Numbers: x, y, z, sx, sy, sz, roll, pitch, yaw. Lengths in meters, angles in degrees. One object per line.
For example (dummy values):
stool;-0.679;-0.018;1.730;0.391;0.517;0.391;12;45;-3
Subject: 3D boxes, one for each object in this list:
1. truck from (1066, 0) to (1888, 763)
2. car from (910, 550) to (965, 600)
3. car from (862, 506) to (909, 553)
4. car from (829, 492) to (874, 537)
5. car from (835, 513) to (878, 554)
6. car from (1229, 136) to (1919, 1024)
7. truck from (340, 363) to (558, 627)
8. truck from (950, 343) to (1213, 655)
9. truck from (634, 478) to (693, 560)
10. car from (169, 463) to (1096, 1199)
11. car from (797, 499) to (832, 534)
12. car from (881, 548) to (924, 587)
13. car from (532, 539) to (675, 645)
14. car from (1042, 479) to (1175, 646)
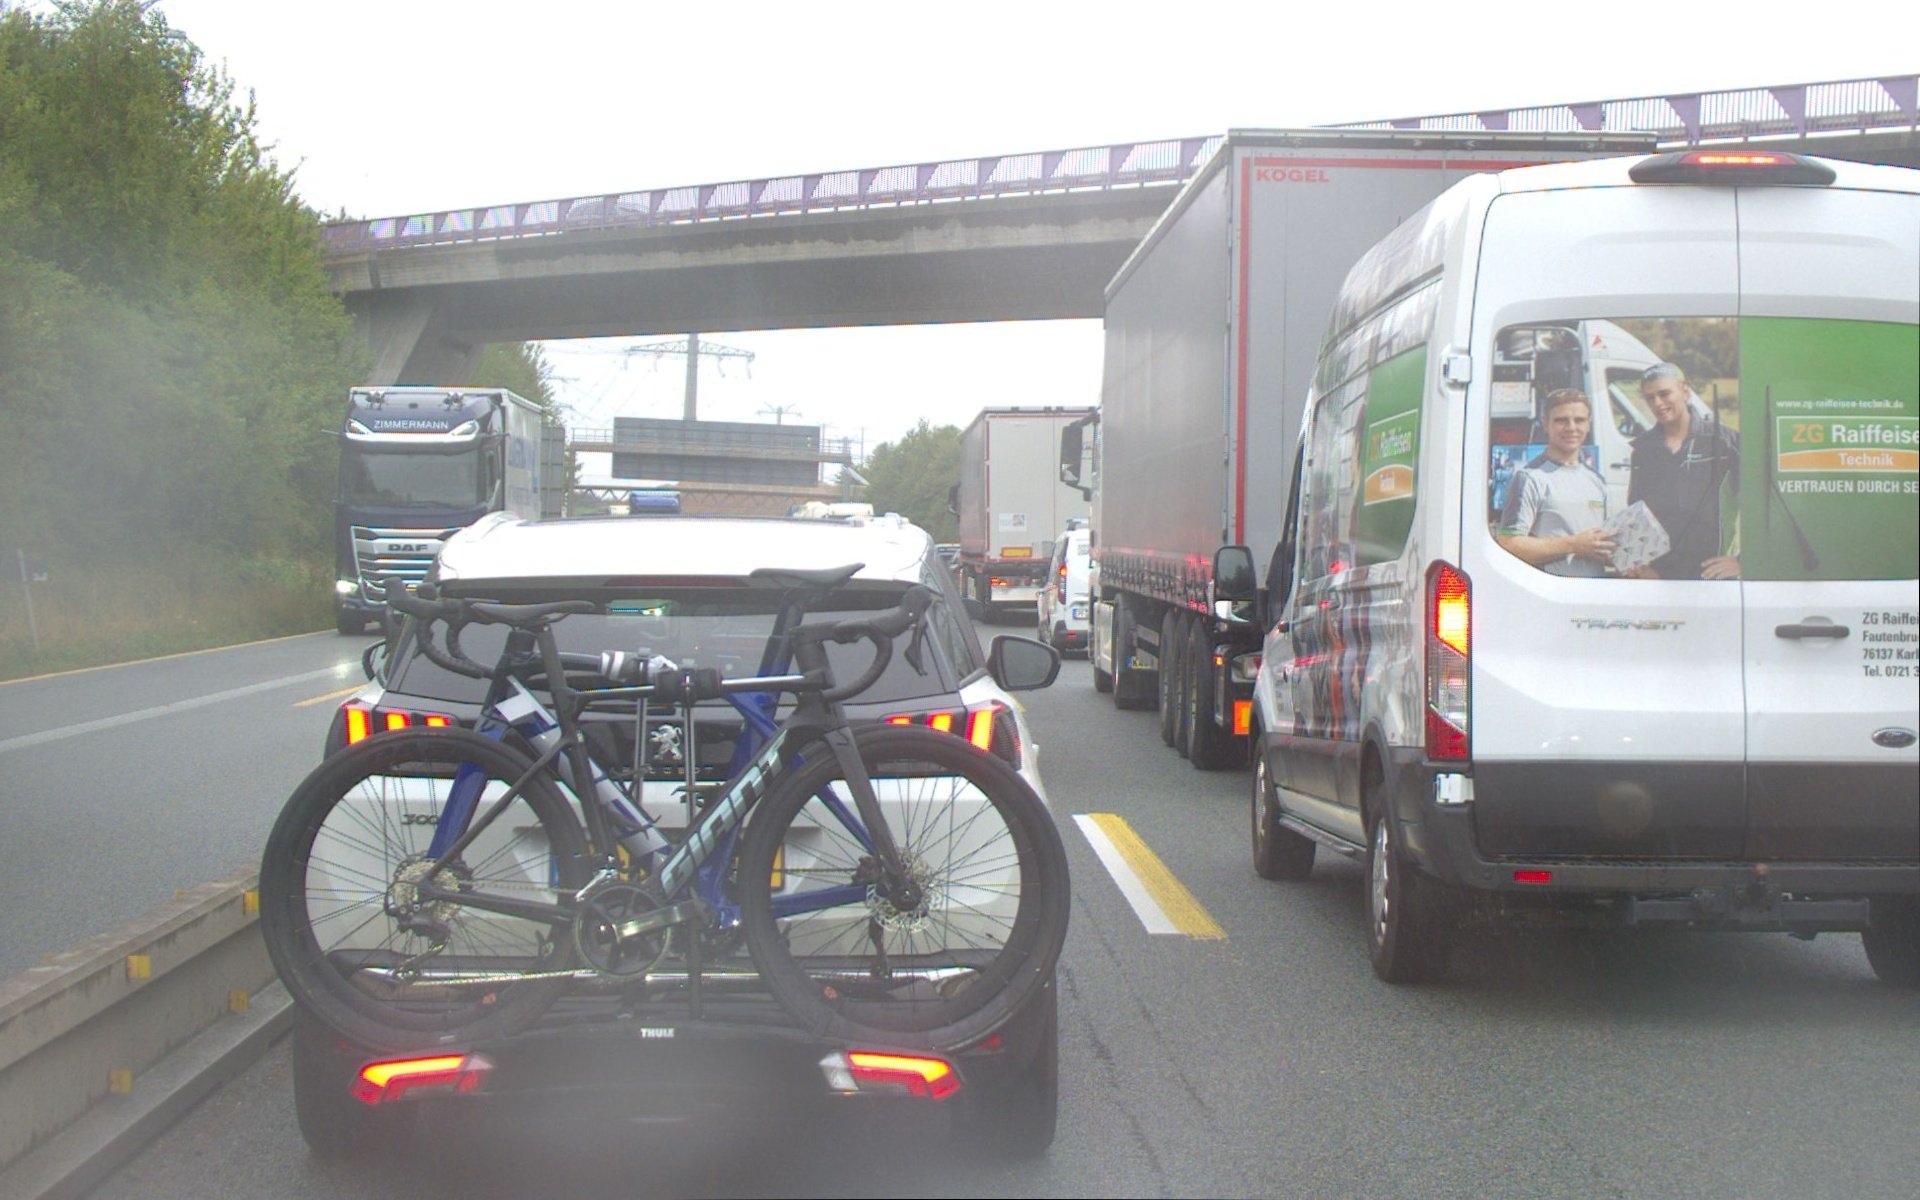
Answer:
truck;3.299;-2.016;29.980;3.979;5.654;20.376;1;1;0
car;-0.687;-0.778;105.118;1.638;1.492;3.666;1;1;0
car;-3.274;-3.095;151.420;1.993;2.007;4.000;1;1;-1
car;-5.784;-4.565;183.906;2.239;2.299;4.572;1;1;0
car;-5.138;-3.296;171.188;1.993;2.007;4.000;1;1;0
car;2.393;-0.088;13.460;2.144;2.667;6.117;1;1;0
truck;-8.598;-1.700;58.925;2.464;4.109;10.089;1;1;-2
truck;2.358;-1.946;73.153;4.743;5.654;20.376;1;1;1
truck;-15.431;-4.157;179.444;2.464;4.109;10.089;1;1;-2
car;-0.616;0.533;9.085;1.810;1.632;4.635;1;1;1
car;-9.084;-5.242;215.536;1.993;2.119;4.527;1;1;0
car;-2.227;-1.279;134.249;1.638;1.492;3.666;1;1;0
car;-5.267;-0.132;51.152;1.938;1.489;4.001;1;1;-4
car;2.002;-0.510;47.327;1.670;2.173;4.535;1;1;1
